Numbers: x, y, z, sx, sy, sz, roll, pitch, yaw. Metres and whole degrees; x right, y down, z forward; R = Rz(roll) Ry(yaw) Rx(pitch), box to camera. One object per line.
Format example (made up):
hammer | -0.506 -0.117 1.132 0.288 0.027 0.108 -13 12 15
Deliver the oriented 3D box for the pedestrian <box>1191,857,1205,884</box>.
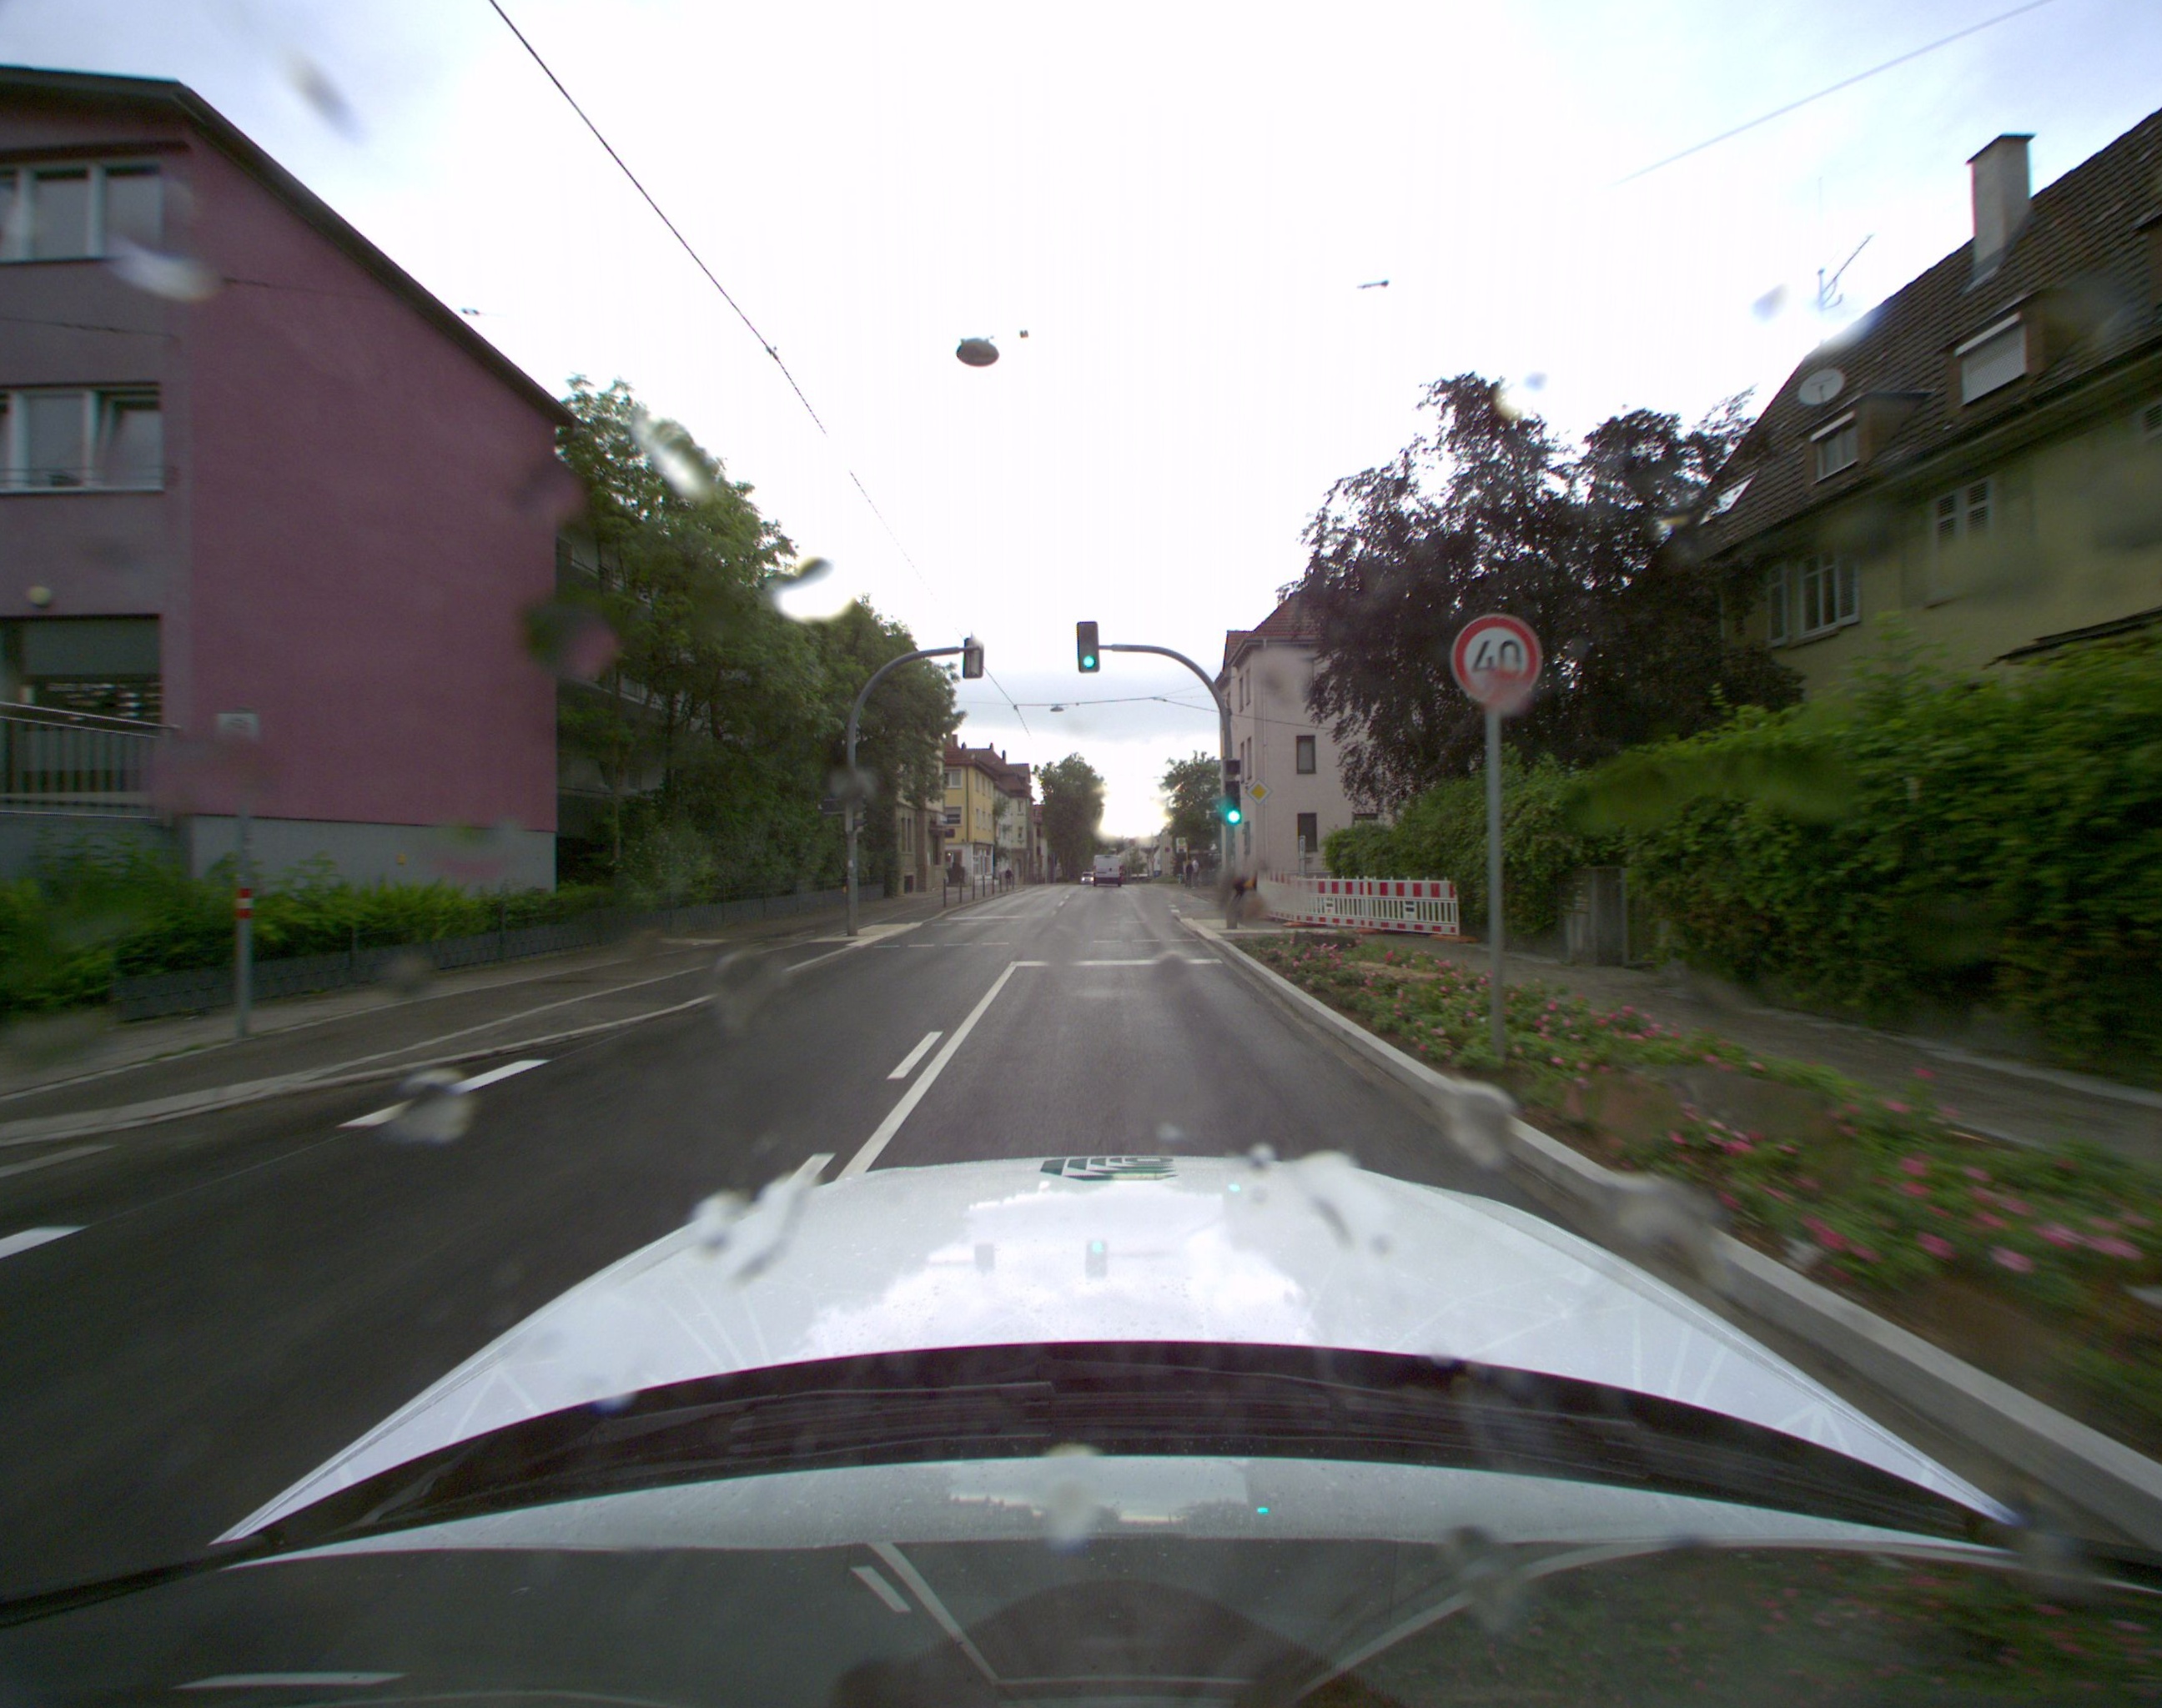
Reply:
pedestrian | 7.606 1.062 52.847 0.659 1.741 0.828 -2 -1 -4

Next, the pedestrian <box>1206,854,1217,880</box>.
pedestrian | 9.383 0.909 58.434 0.642 1.831 0.744 -2 -2 15

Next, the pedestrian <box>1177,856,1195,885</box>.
pedestrian | 6.277 1.005 48.692 0.639 1.710 0.741 -2 -2 -32

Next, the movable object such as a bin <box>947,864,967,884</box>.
movable object such as a bin | -9.068 1.457 59.660 1.297 1.402 0.983 0 -1 1

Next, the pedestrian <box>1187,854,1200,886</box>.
pedestrian | 6.793 0.943 49.176 0.481 1.875 0.637 -4 -2 36

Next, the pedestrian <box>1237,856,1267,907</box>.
pedestrian | 5.383 0.868 25.628 0.868 1.561 1.053 0 -1 15

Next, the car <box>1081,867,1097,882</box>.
car | 1.076 2.690 105.014 1.875 1.870 4.454 -1 -2 2

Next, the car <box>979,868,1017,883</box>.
car | -9.781 2.537 96.681 4.167 1.588 2.000 3 -2 1

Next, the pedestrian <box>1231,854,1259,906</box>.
pedestrian | 5.399 0.851 26.895 0.780 1.642 1.224 0 -1 6

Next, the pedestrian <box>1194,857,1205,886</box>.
pedestrian | 7.282 1.074 49.901 0.442 1.708 0.560 -4 -2 25

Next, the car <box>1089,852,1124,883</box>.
car | 1.840 0.950 59.840 2.339 2.160 4.776 -1 -1 0

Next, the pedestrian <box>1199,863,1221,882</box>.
pedestrian | 8.998 1.316 56.989 1.352 1.273 0.740 -2 -1 -4

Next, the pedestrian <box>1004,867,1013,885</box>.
pedestrian | -6.828 2.036 76.597 0.813 1.679 0.992 0 -2 -1

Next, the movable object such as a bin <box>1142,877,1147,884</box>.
movable object such as a bin | 8.806 3.649 113.477 0.617 0.936 0.686 -3 -2 2

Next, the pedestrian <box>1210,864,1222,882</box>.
pedestrian | 9.185 1.318 55.450 0.659 1.199 0.740 -2 -1 -4

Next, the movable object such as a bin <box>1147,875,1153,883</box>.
movable object such as a bin | 9.590 3.539 113.625 0.692 1.082 0.779 -3 -2 2
